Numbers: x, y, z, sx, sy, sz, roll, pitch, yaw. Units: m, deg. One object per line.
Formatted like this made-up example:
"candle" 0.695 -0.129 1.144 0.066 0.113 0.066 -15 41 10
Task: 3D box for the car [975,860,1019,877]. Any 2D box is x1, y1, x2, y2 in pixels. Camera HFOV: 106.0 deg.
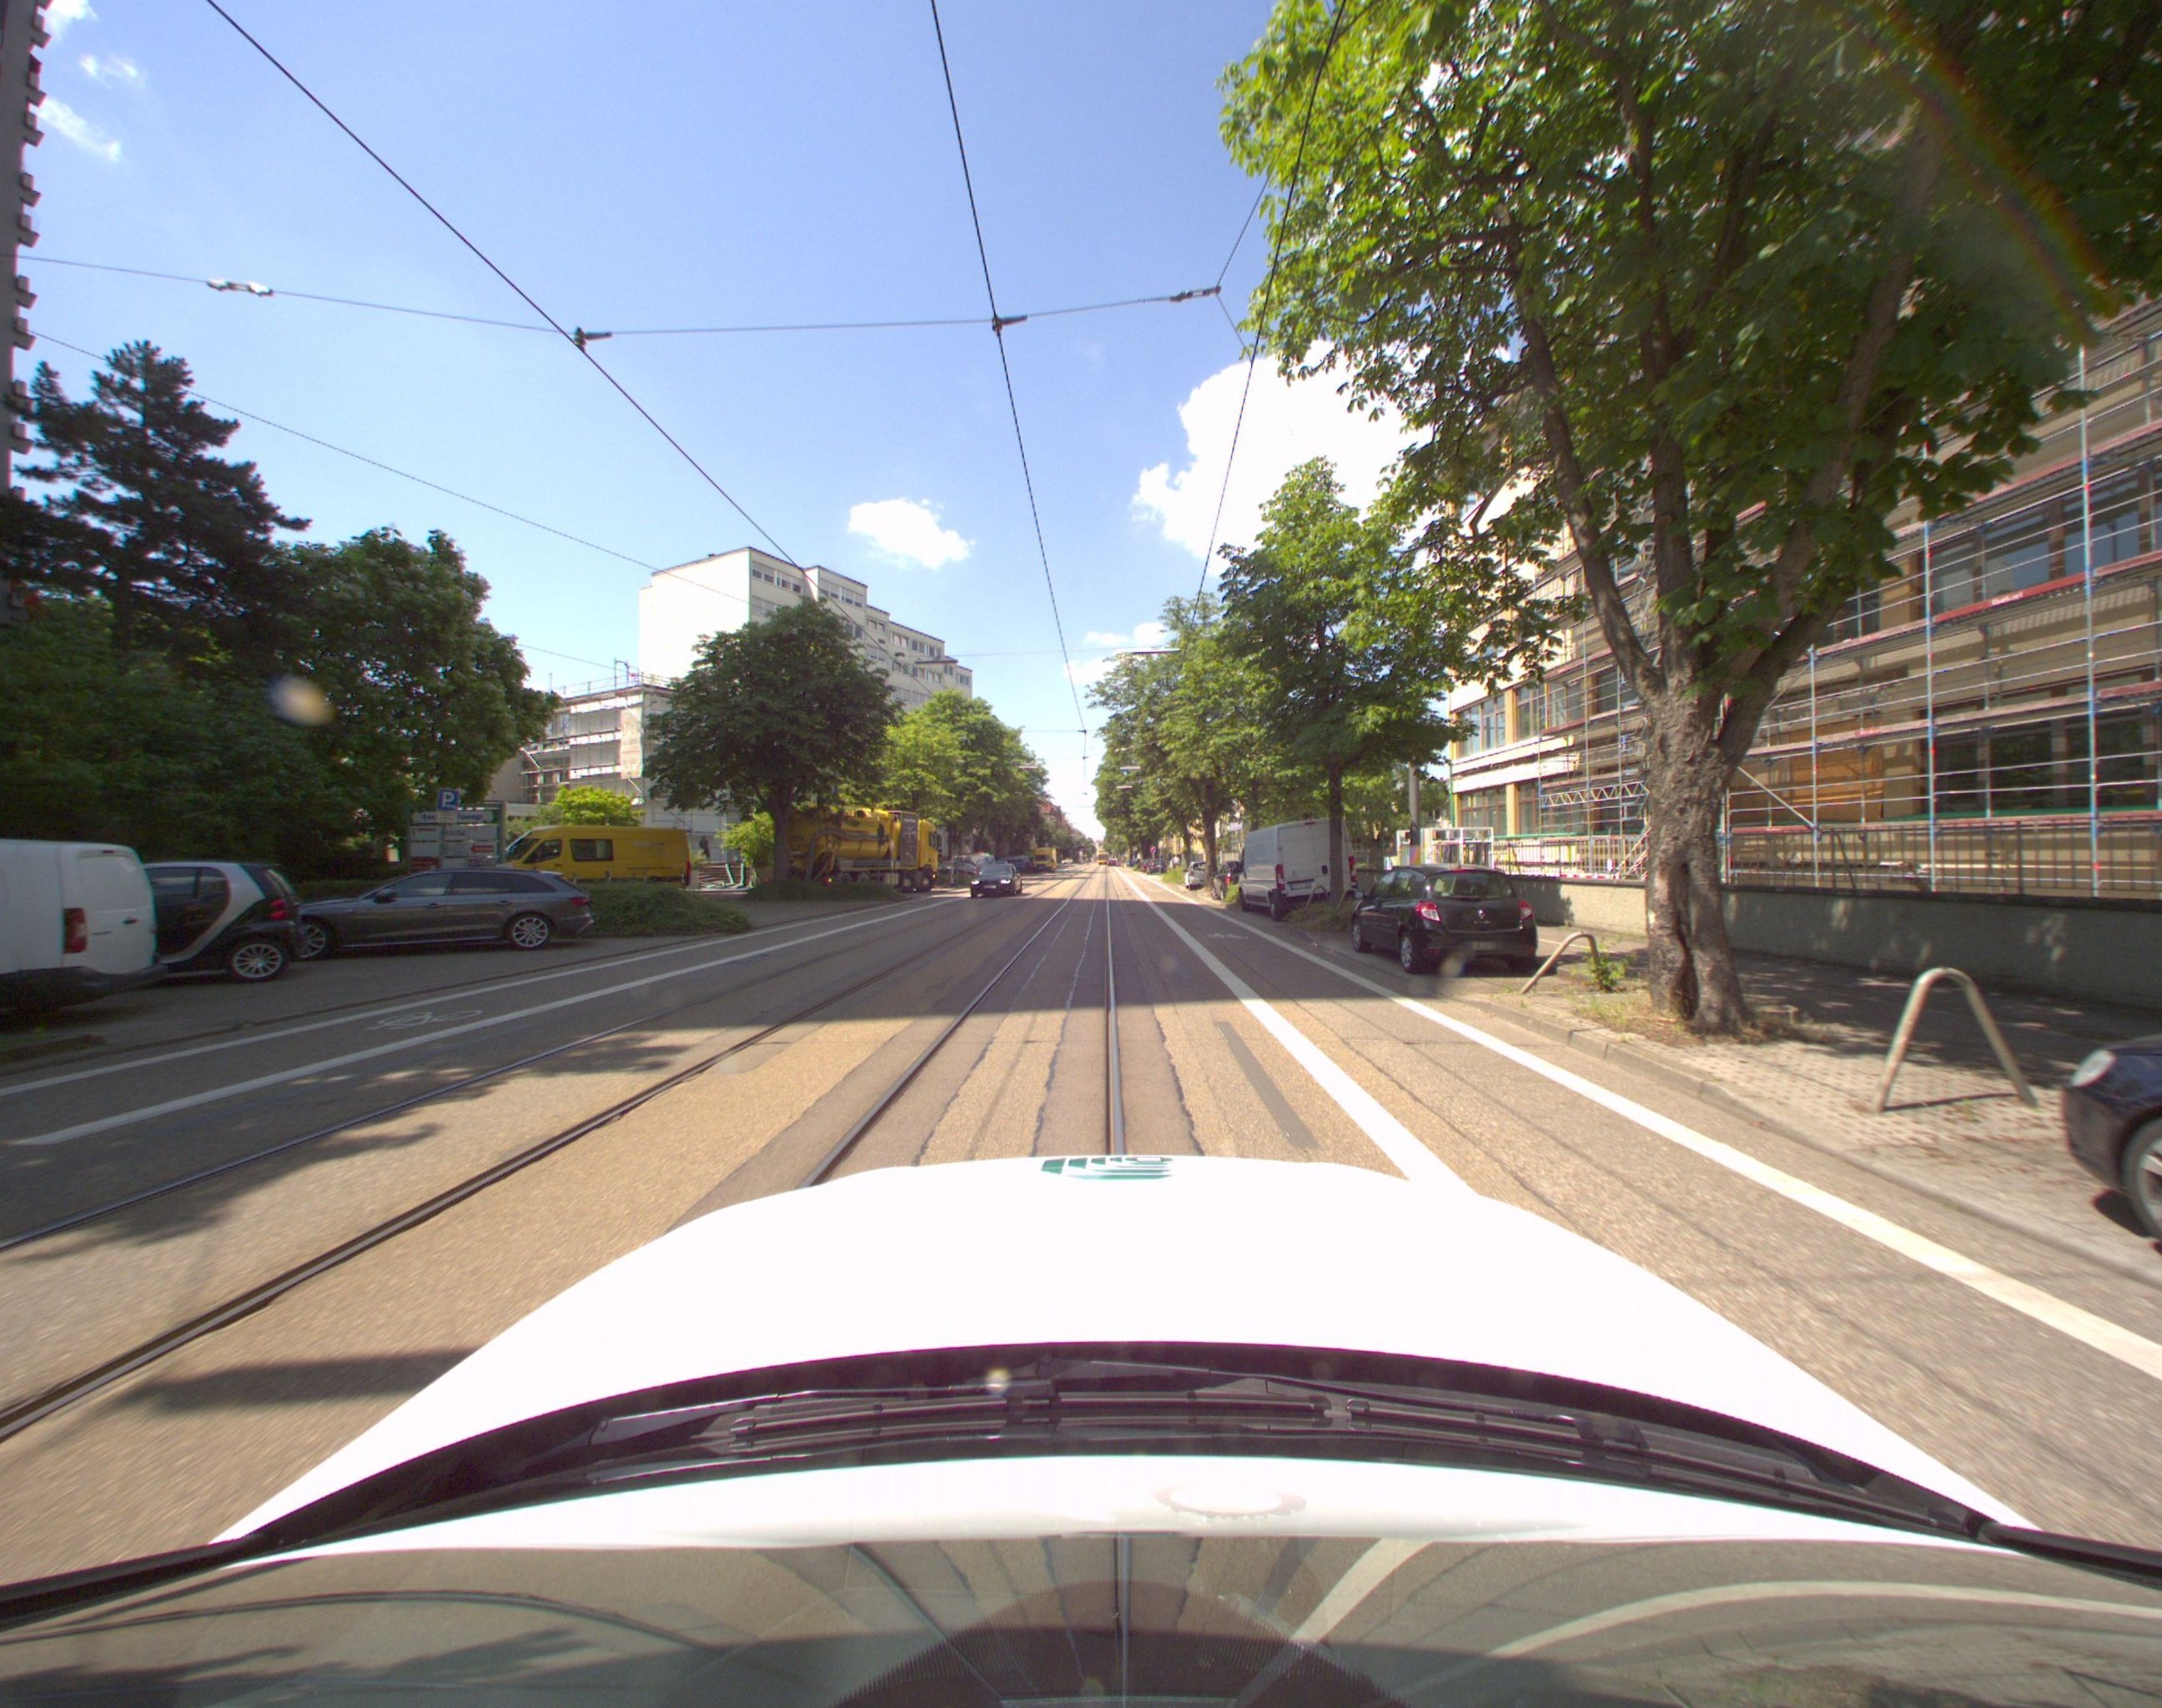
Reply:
"car" -8.192 1.424 79.601 1.740 1.433 4.024 -5 -1 44

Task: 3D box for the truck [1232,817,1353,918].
"truck" 5.816 0.333 23.250 2.007 2.489 5.957 -1 0 1

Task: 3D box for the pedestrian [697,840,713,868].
"pedestrian" -21.802 0.003 47.219 0.472 1.555 0.624 -3 -2 29

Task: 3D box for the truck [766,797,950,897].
"truck" -9.595 -0.191 37.046 2.695 3.842 11.009 0 -1 16

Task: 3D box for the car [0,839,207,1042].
"car" -11.362 0.747 7.202 4.563 1.791 1.882 1 0 -31

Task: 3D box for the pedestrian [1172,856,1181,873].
"pedestrian" 10.634 1.135 90.807 0.579 1.860 0.718 -1 -1 -34

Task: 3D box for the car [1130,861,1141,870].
"car" 9.160 1.922 136.929 1.704 1.423 4.310 -2 -1 1

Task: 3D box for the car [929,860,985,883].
"car" -9.003 1.245 59.490 3.731 1.544 1.671 -2 -1 -44

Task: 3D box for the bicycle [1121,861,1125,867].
"bicycle" 7.189 1.713 140.545 0.636 0.969 1.780 1 -2 1

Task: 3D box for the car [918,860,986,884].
"car" -8.905 1.233 56.347 4.225 1.507 1.852 -2 -1 -40

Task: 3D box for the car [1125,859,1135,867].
"car" 9.391 1.781 155.303 1.704 1.423 4.310 -2 -1 1

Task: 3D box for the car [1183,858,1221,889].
"car" 6.374 0.975 43.087 1.637 1.534 3.788 -1 0 3

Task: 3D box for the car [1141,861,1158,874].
"car" 7.966 1.578 95.492 1.704 1.423 4.244 -2 -1 1

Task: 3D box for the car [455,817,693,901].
"car" -17.426 0.237 28.543 2.157 2.566 6.765 -1 -2 31

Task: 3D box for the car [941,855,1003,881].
"car" -8.815 1.138 66.223 1.898 1.935 4.785 -3 -1 44

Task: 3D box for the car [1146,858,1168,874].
"car" 7.109 1.129 76.567 1.634 1.485 3.870 -2 -1 -1

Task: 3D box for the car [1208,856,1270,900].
"car" 5.931 0.874 30.957 1.638 1.534 3.948 -1 0 1

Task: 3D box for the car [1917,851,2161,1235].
"car" 5.006 0.722 1.819 1.817 1.471 4.489 -1 0 3

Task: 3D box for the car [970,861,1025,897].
"car" -3.517 1.029 35.022 1.767 1.397 4.289 -1 0 2

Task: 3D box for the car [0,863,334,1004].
"car" -11.992 0.895 10.073 3.971 1.532 1.752 1 0 -40

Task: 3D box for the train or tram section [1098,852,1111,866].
"train or tram section" 6.164 1.230 211.631 3.023 3.438 11.977 -1 0 2

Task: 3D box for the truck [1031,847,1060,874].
"truck" -3.906 0.684 91.089 2.350 2.852 7.384 -2 0 3

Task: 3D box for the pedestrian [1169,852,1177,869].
"pedestrian" 10.420 0.752 92.461 0.802 1.860 0.579 -2 -1 17

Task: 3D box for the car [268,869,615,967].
"car" -10.751 0.983 14.092 4.468 1.394 1.753 1 0 -37

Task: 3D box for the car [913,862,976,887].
"car" -8.876 1.325 53.030 1.740 1.507 3.731 -3 -1 44

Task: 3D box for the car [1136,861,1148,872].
"car" 8.786 1.826 117.696 1.586 1.617 3.908 -2 -1 1

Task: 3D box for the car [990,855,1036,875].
"car" -7.664 1.232 92.349 4.785 2.062 2.003 -2 -1 -38

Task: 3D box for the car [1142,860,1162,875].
"car" 7.763 1.477 89.061 1.869 1.455 4.530 -2 -1 2

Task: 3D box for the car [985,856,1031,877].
"car" -7.719 1.325 86.158 4.759 1.955 1.824 -2 -1 -44

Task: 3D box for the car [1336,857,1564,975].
"car" 5.440 0.813 12.699 1.816 1.471 4.405 -1 0 4

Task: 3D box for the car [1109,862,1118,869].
"car" 6.461 2.205 163.083 1.774 1.346 3.417 -1 0 2
